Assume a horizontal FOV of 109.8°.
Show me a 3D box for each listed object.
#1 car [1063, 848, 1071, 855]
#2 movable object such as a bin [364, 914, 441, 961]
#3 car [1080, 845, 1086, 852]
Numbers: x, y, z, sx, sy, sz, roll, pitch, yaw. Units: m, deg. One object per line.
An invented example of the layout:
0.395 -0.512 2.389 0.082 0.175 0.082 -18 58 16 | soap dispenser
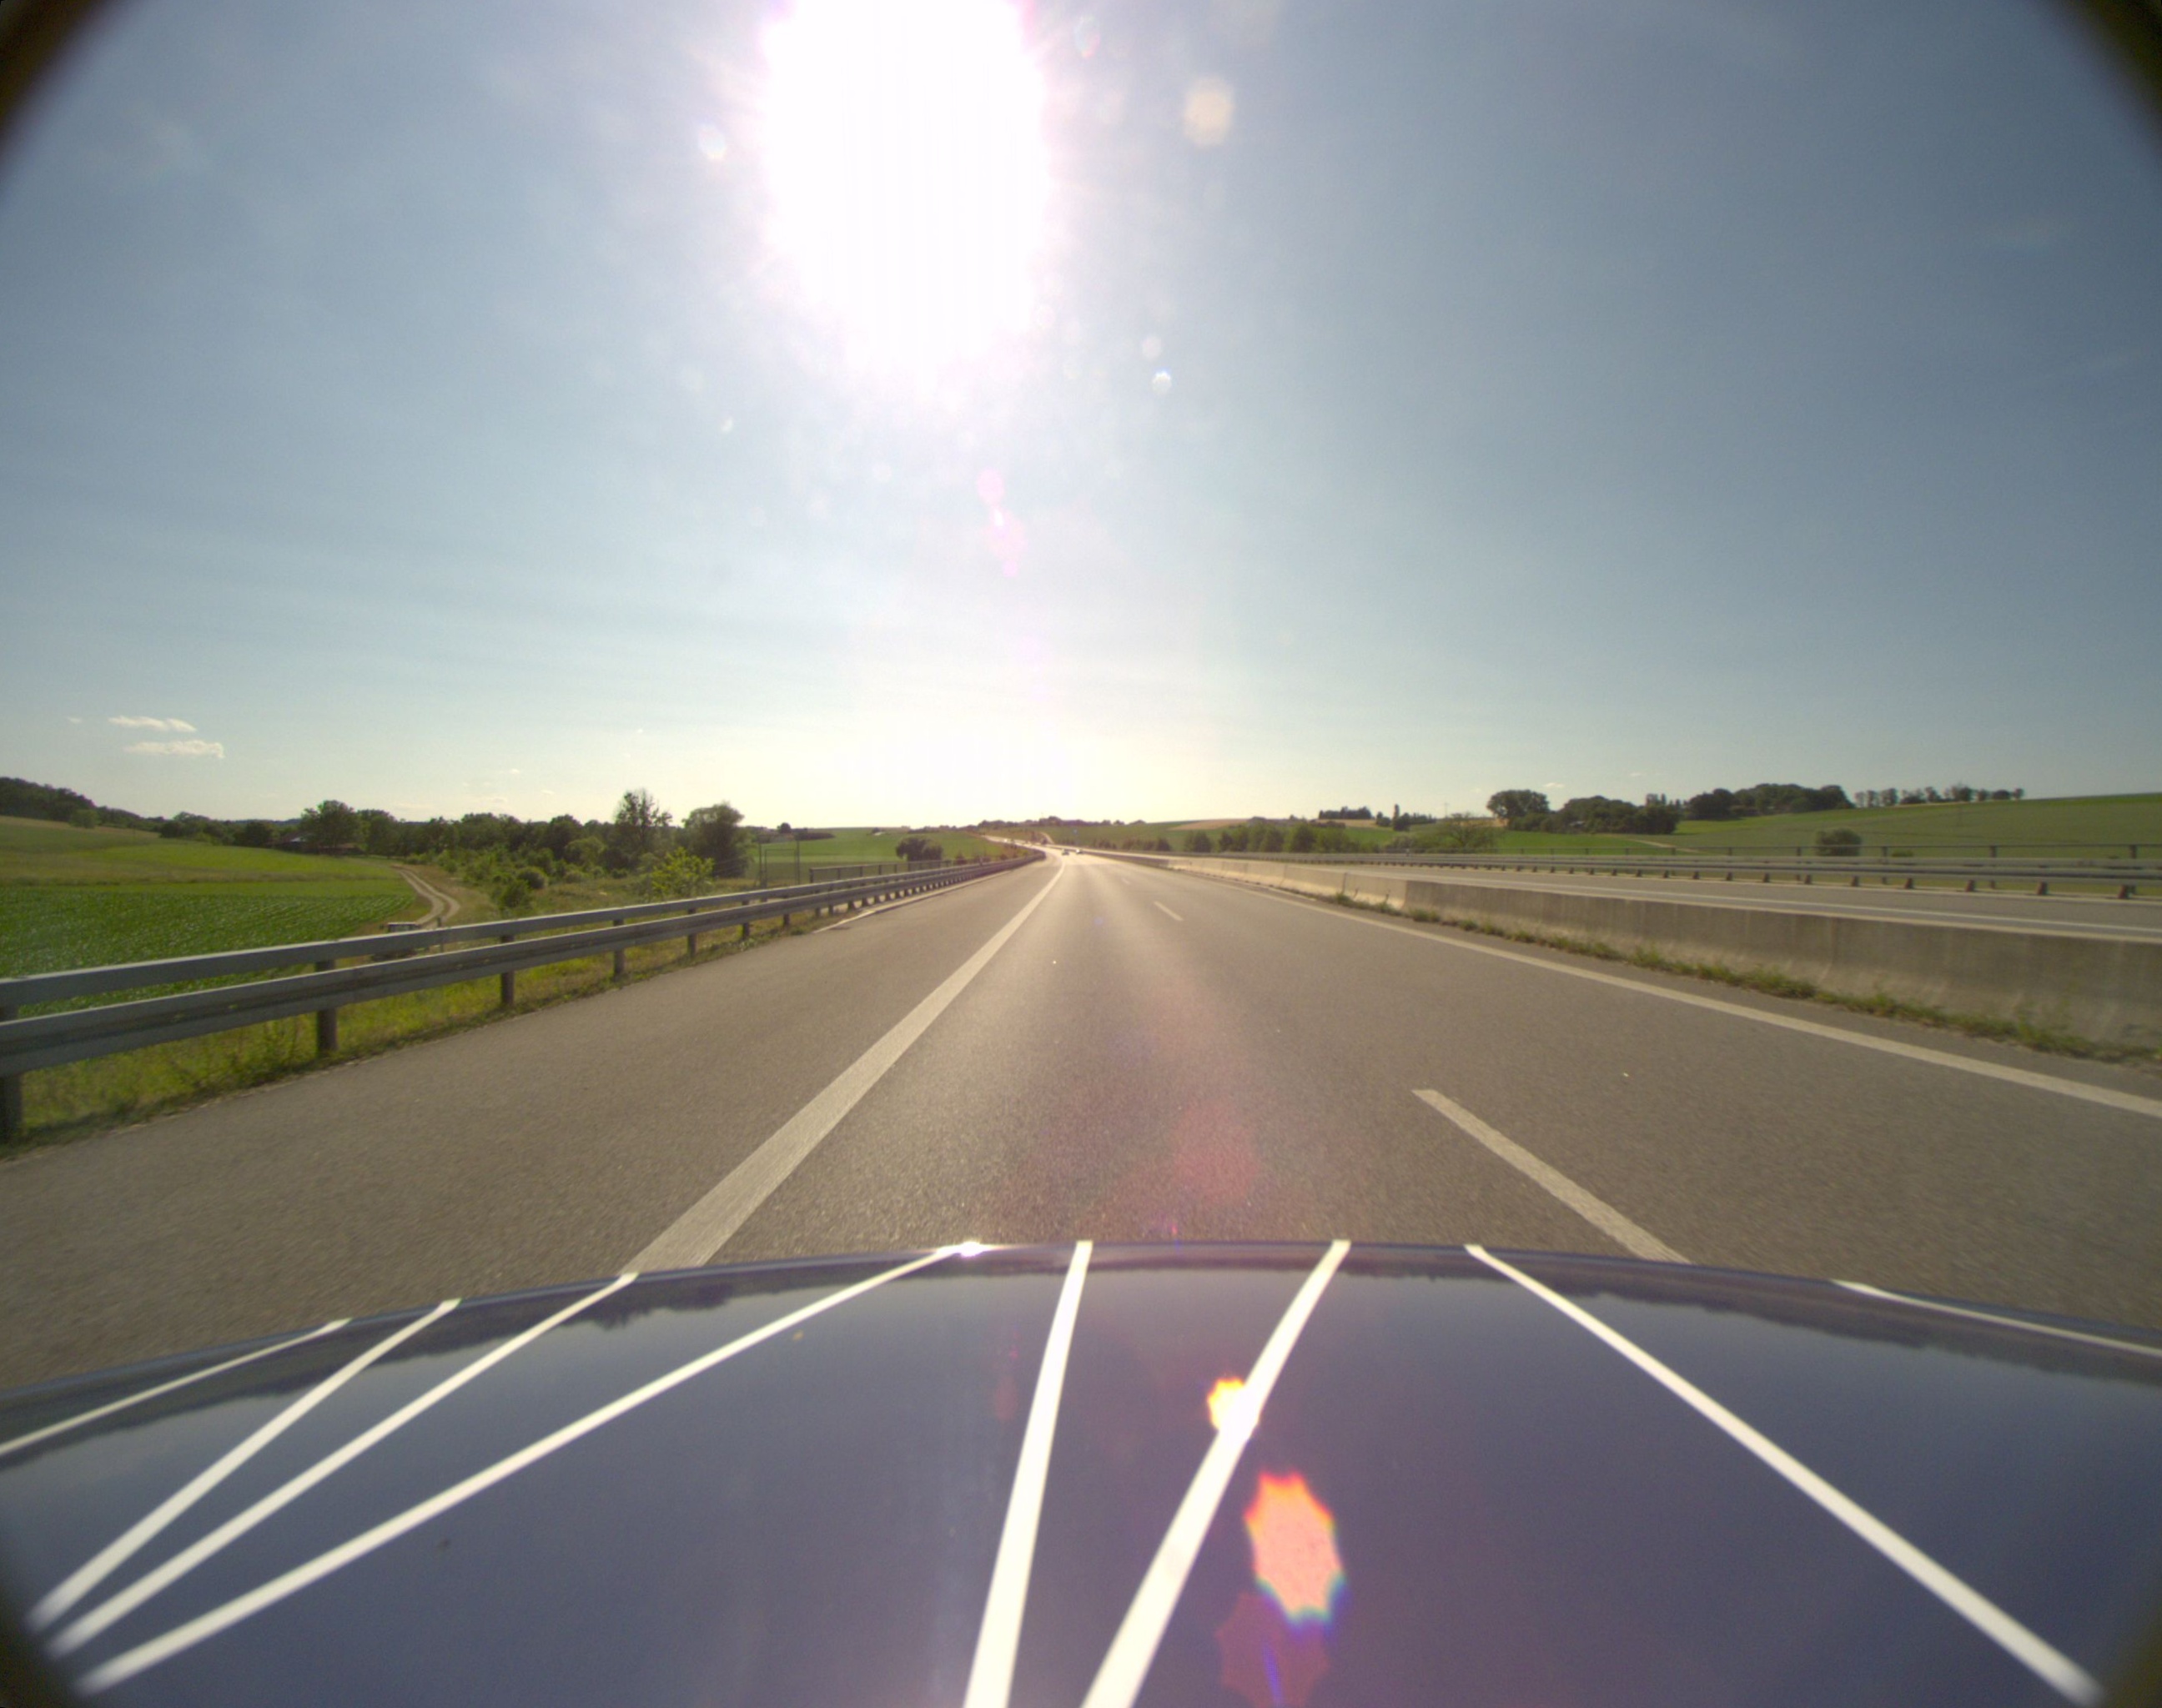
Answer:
-3.641 -0.710 196.776 1.715 1.580 4.624 -2 2 -2 | car
-51.355 6.234 57.479 6.214 2.756 3.292 0 3 39 | movable object such as a bin
0.520 -1.564 202.312 1.715 1.580 4.625 -2 2 -1 | car
